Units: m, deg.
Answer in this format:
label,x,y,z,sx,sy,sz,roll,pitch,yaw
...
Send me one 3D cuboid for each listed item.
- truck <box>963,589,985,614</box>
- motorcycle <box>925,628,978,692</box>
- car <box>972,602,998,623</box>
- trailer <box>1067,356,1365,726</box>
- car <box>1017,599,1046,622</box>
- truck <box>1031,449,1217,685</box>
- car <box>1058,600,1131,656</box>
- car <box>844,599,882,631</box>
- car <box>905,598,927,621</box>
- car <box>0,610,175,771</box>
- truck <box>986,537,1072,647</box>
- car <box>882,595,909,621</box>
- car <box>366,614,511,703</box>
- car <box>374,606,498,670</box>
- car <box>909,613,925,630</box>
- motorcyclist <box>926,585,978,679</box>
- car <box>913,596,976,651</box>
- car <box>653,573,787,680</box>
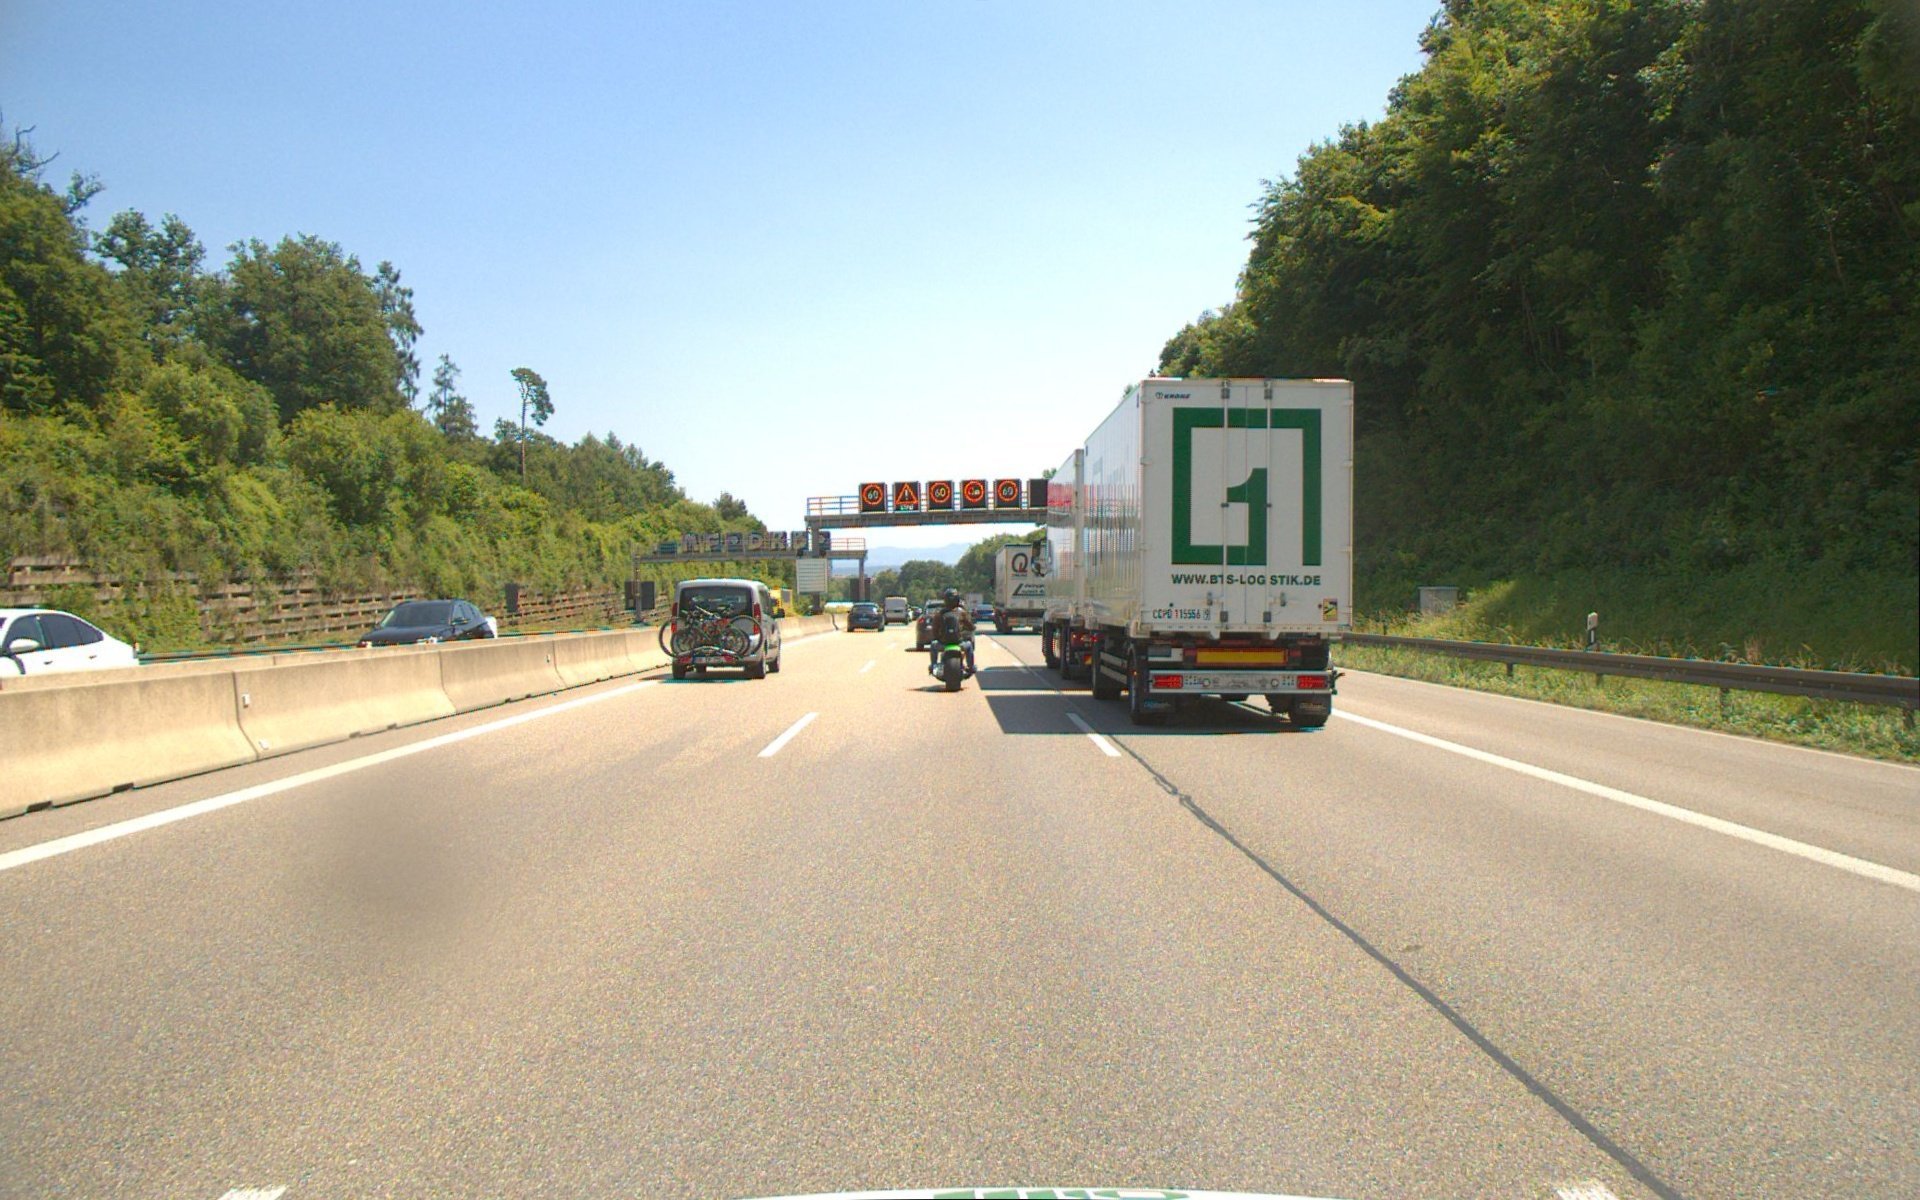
label,x,y,z,sx,sy,sz,roll,pitch,yaw
truck,1.966,0.213,236.693,3.005,3.405,9.650,1,0,-1
motorcycle,-0.125,0.981,27.576,0.844,0.999,2.130,0,-1,0
car,1.875,0.963,124.887,1.794,1.553,4.026,0,0,-1
trailer,3.274,-0.656,24.067,2.625,4.249,10.063,0,0,-1
car,5.014,0.724,116.372,1.794,1.553,4.026,0,0,-1
truck,3.098,-0.560,34.339,2.625,4.131,10.623,0,0,-1
car,4.028,0.812,50.152,1.808,1.584,4.391,0,0,-1
car,-4.920,0.735,84.164,1.722,1.571,4.394,0,0,-1
car,-3.613,0.781,137.205,1.794,1.842,4.119,0,0,-1
car,-10.981,0.991,18.514,1.900,1.633,5.225,-2,0,-1
truck,3.186,-0.321,82.053,3.314,4.800,17.705,1,0,-1
car,-4.523,0.542,115.833,1.794,1.842,4.119,0,0,-1
car,-10.989,1.178,35.136,1.717,1.666,4.302,-2,0,-1
car,-15.231,1.058,48.409,1.845,1.666,5.648,-2,0,-1
car,-4.726,2.348,182.024,1.794,1.842,4.119,0,0,-1
motorcyclist,-0.126,0.532,27.620,0.838,1.541,0.914,0,-1,0
car,-0.484,0.669,49.984,1.808,1.584,4.438,0,0,-1
car,-4.506,0.500,31.863,1.859,1.880,5.481,0,-1,-1
